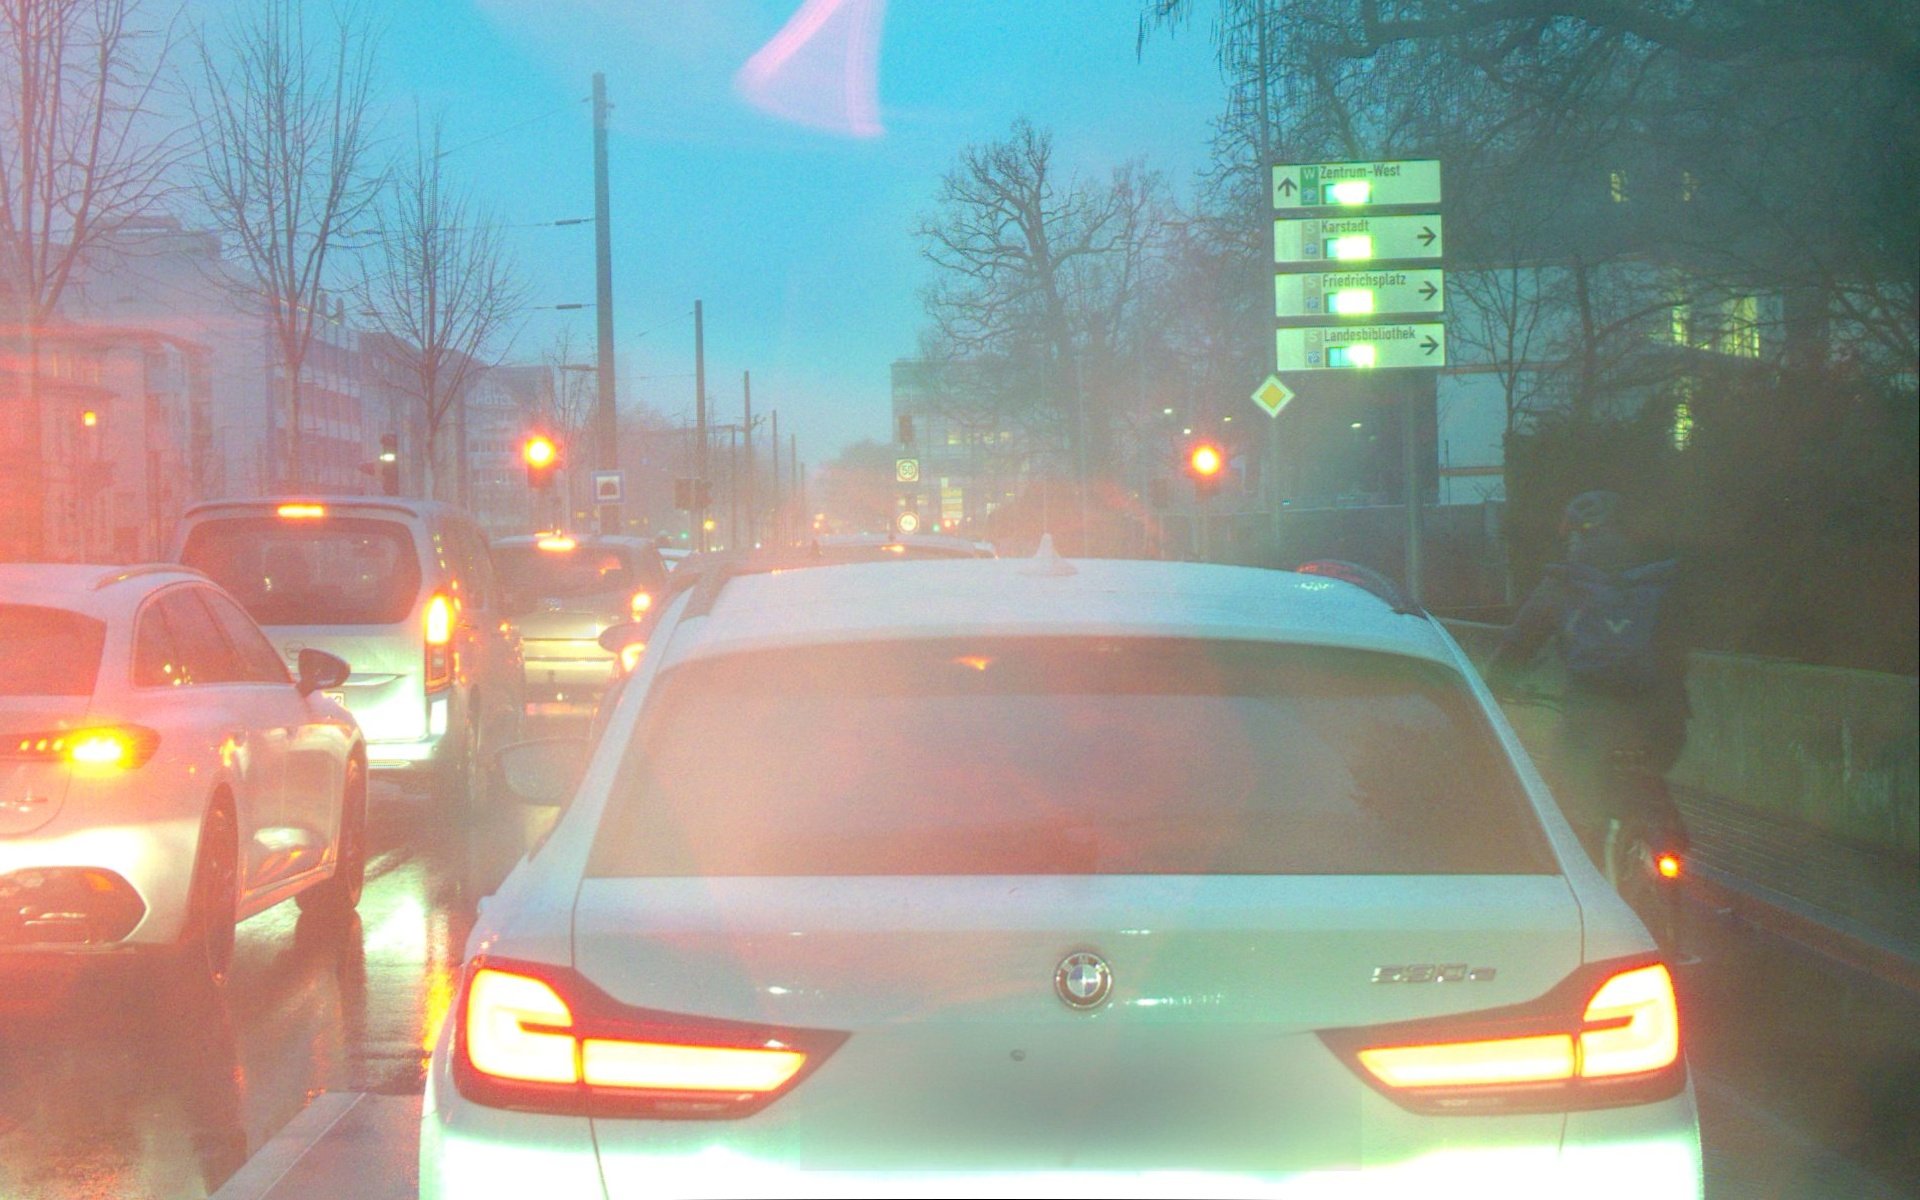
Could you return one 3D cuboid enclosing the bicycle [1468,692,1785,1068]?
[{"bbox_3d":[2.048,0.826,10.807,0.645,0.963,2.046,-1,1,2],"label":"bicycle"}]

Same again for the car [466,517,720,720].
[{"bbox_3d":[-3.109,0.110,29.831,1.806,1.640,4.000,0,1,0],"label":"car"}]

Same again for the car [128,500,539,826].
[{"bbox_3d":[-3.602,0.306,20.531,1.793,1.730,4.538,0,1,-2],"label":"car"}]

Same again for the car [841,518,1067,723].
[{"bbox_3d":[-0.067,0.123,29.501,1.806,1.640,4.000,0,1,0],"label":"car"}]

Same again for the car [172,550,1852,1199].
[{"bbox_3d":[0.044,0.677,6.184,1.999,1.503,4.164,0,1,-1],"label":"car"}]

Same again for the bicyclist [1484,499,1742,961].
[{"bbox_3d":[2.038,0.386,10.819,0.645,1.384,0.890,-1,1,2],"label":"bicyclist"}]

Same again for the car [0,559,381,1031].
[{"bbox_3d":[-3.359,0.555,12.545,1.846,1.400,4.614,0,1,-2],"label":"car"}]

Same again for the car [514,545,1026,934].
[{"bbox_3d":[-0.742,0.496,15.114,1.936,1.452,4.164,0,1,-1],"label":"car"}]
